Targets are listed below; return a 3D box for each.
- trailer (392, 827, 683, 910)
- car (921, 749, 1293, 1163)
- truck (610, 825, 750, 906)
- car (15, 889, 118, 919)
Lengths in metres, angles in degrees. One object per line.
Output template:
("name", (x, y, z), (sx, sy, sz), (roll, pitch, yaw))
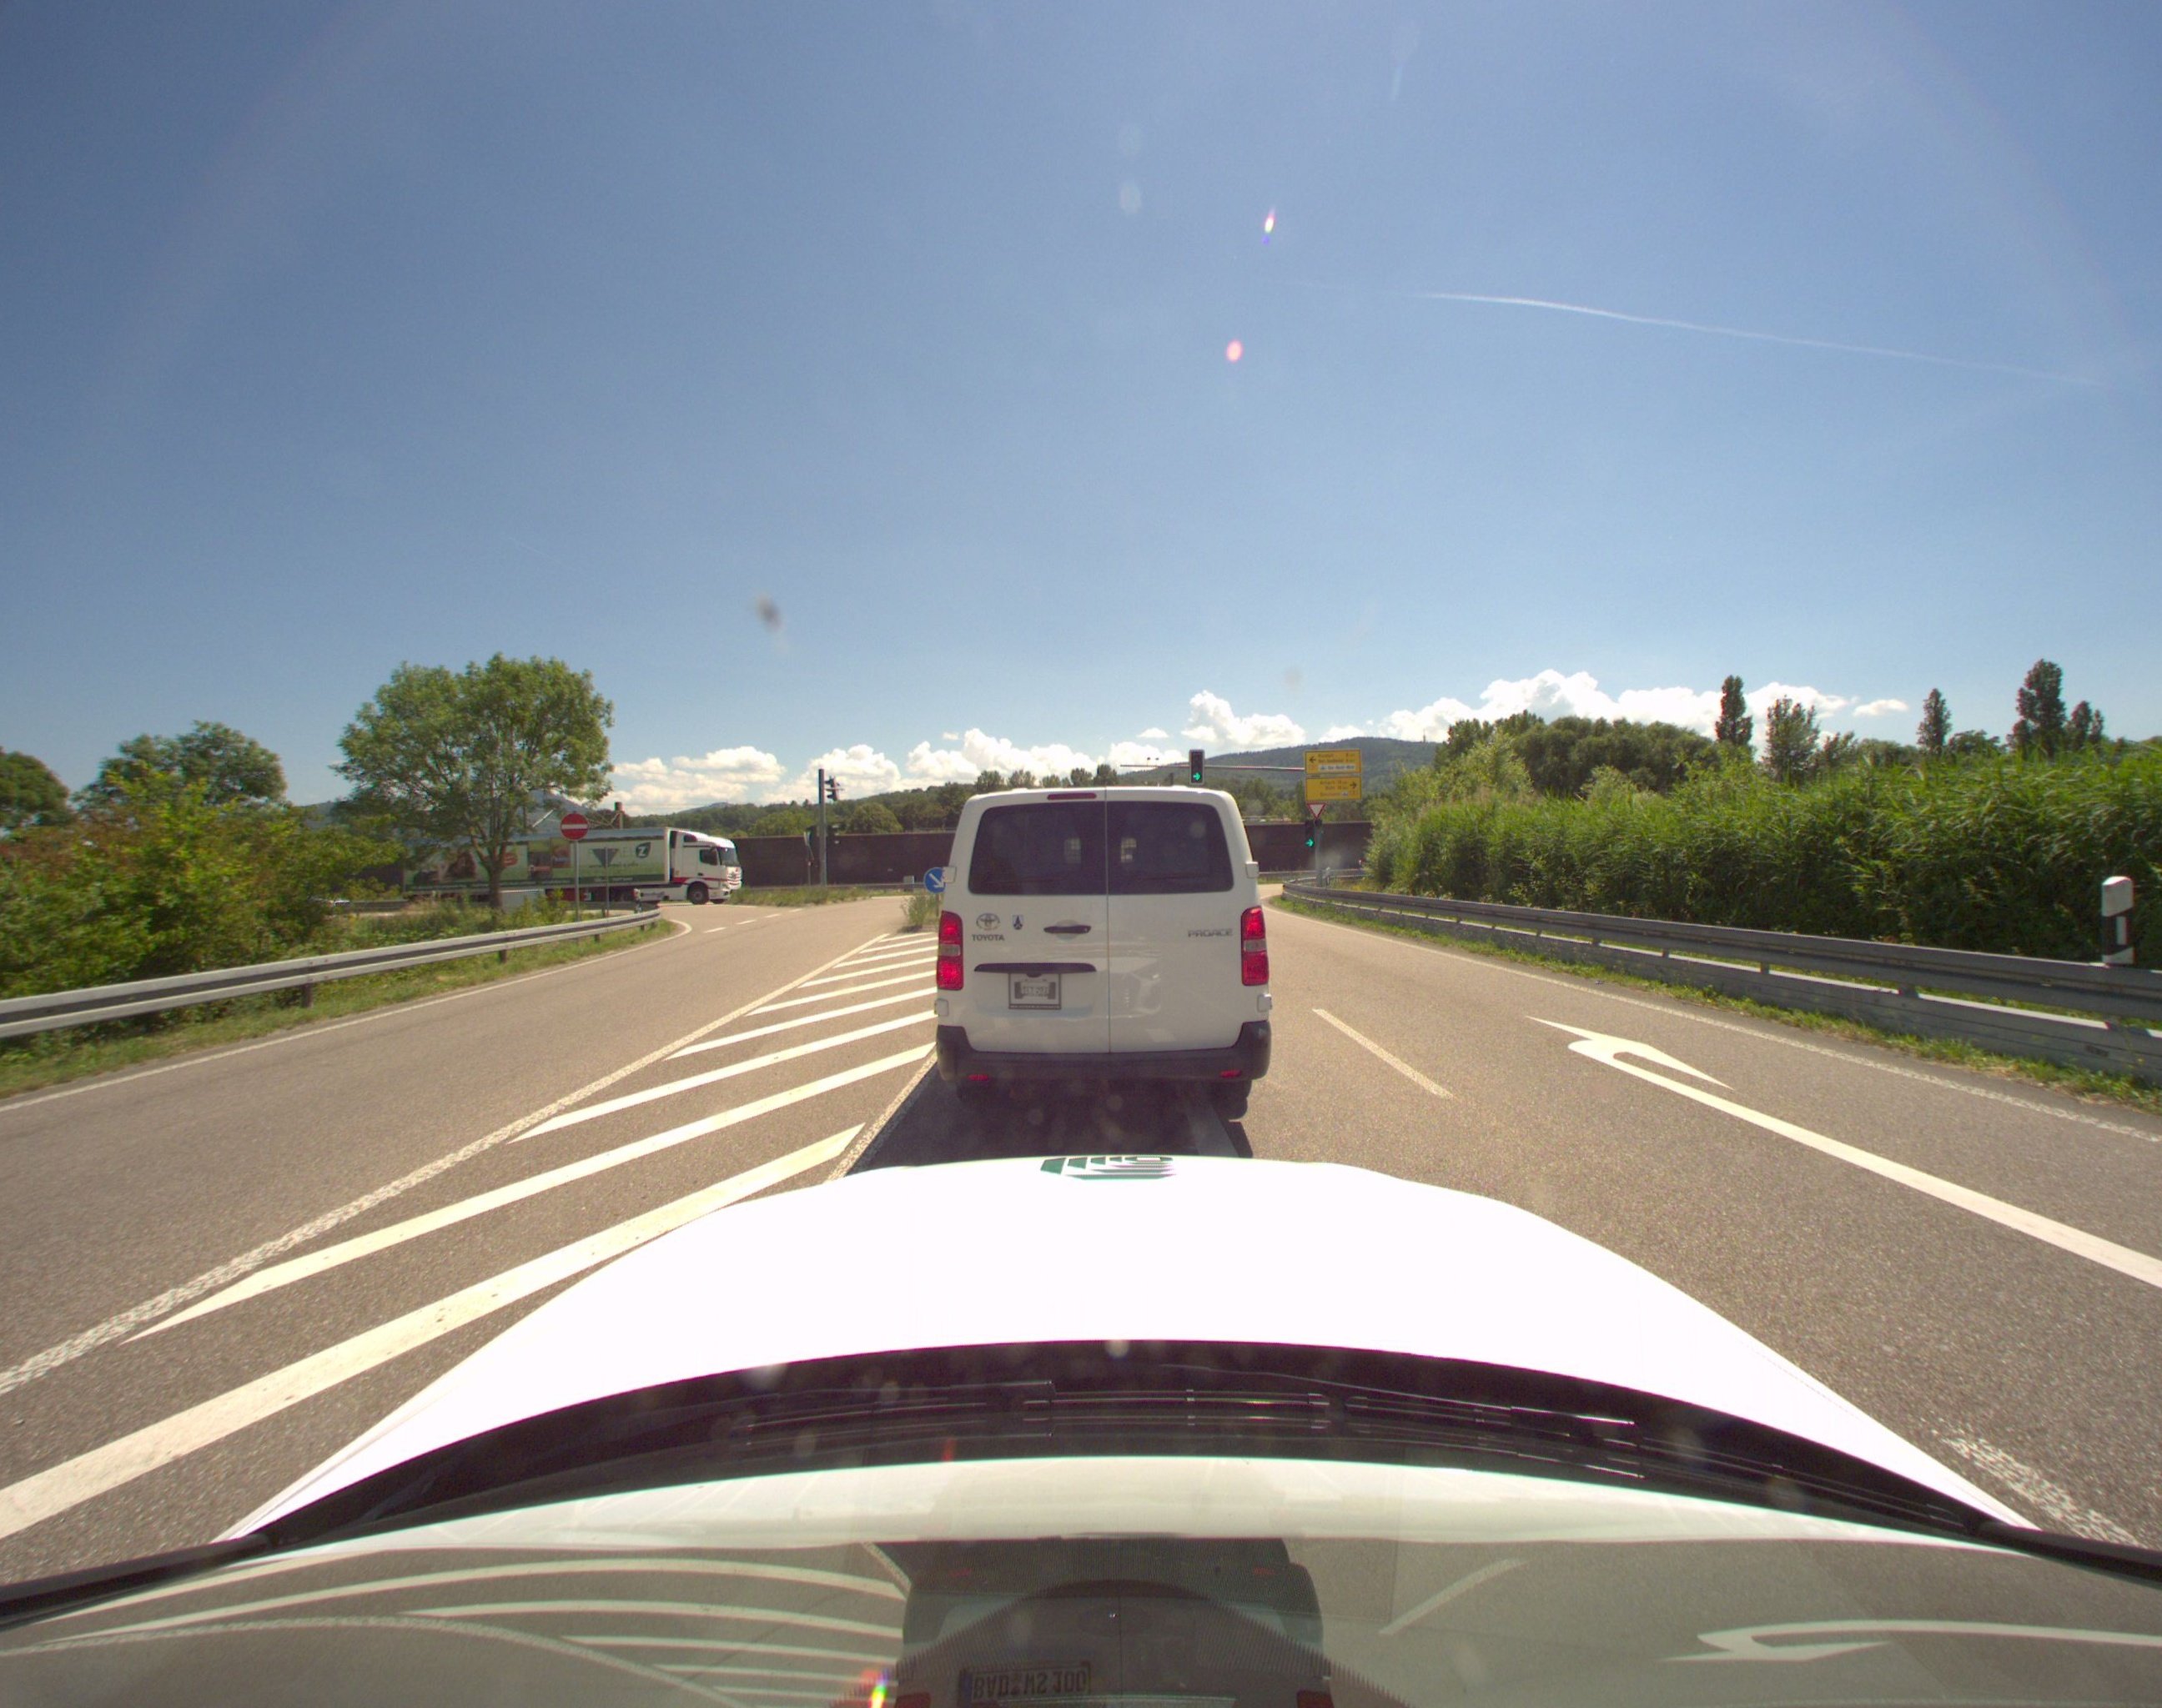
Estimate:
("trailer", (-28.213, 0.734, 42.720), (13.098, 3.954, 3.061), (-1, -1, 0))
("car", (0.184, 0.523, 6.040), (1.808, 2.018, 4.001), (-1, -1, 2))
("truck", (-20.955, 0.599, 42.776), (5.746, 3.954, 3.062), (-1, -1, 0))
("car", (-53.895, 2.631, 43.291), (3.462, 1.464, 1.554), (-1, -1, 0))
